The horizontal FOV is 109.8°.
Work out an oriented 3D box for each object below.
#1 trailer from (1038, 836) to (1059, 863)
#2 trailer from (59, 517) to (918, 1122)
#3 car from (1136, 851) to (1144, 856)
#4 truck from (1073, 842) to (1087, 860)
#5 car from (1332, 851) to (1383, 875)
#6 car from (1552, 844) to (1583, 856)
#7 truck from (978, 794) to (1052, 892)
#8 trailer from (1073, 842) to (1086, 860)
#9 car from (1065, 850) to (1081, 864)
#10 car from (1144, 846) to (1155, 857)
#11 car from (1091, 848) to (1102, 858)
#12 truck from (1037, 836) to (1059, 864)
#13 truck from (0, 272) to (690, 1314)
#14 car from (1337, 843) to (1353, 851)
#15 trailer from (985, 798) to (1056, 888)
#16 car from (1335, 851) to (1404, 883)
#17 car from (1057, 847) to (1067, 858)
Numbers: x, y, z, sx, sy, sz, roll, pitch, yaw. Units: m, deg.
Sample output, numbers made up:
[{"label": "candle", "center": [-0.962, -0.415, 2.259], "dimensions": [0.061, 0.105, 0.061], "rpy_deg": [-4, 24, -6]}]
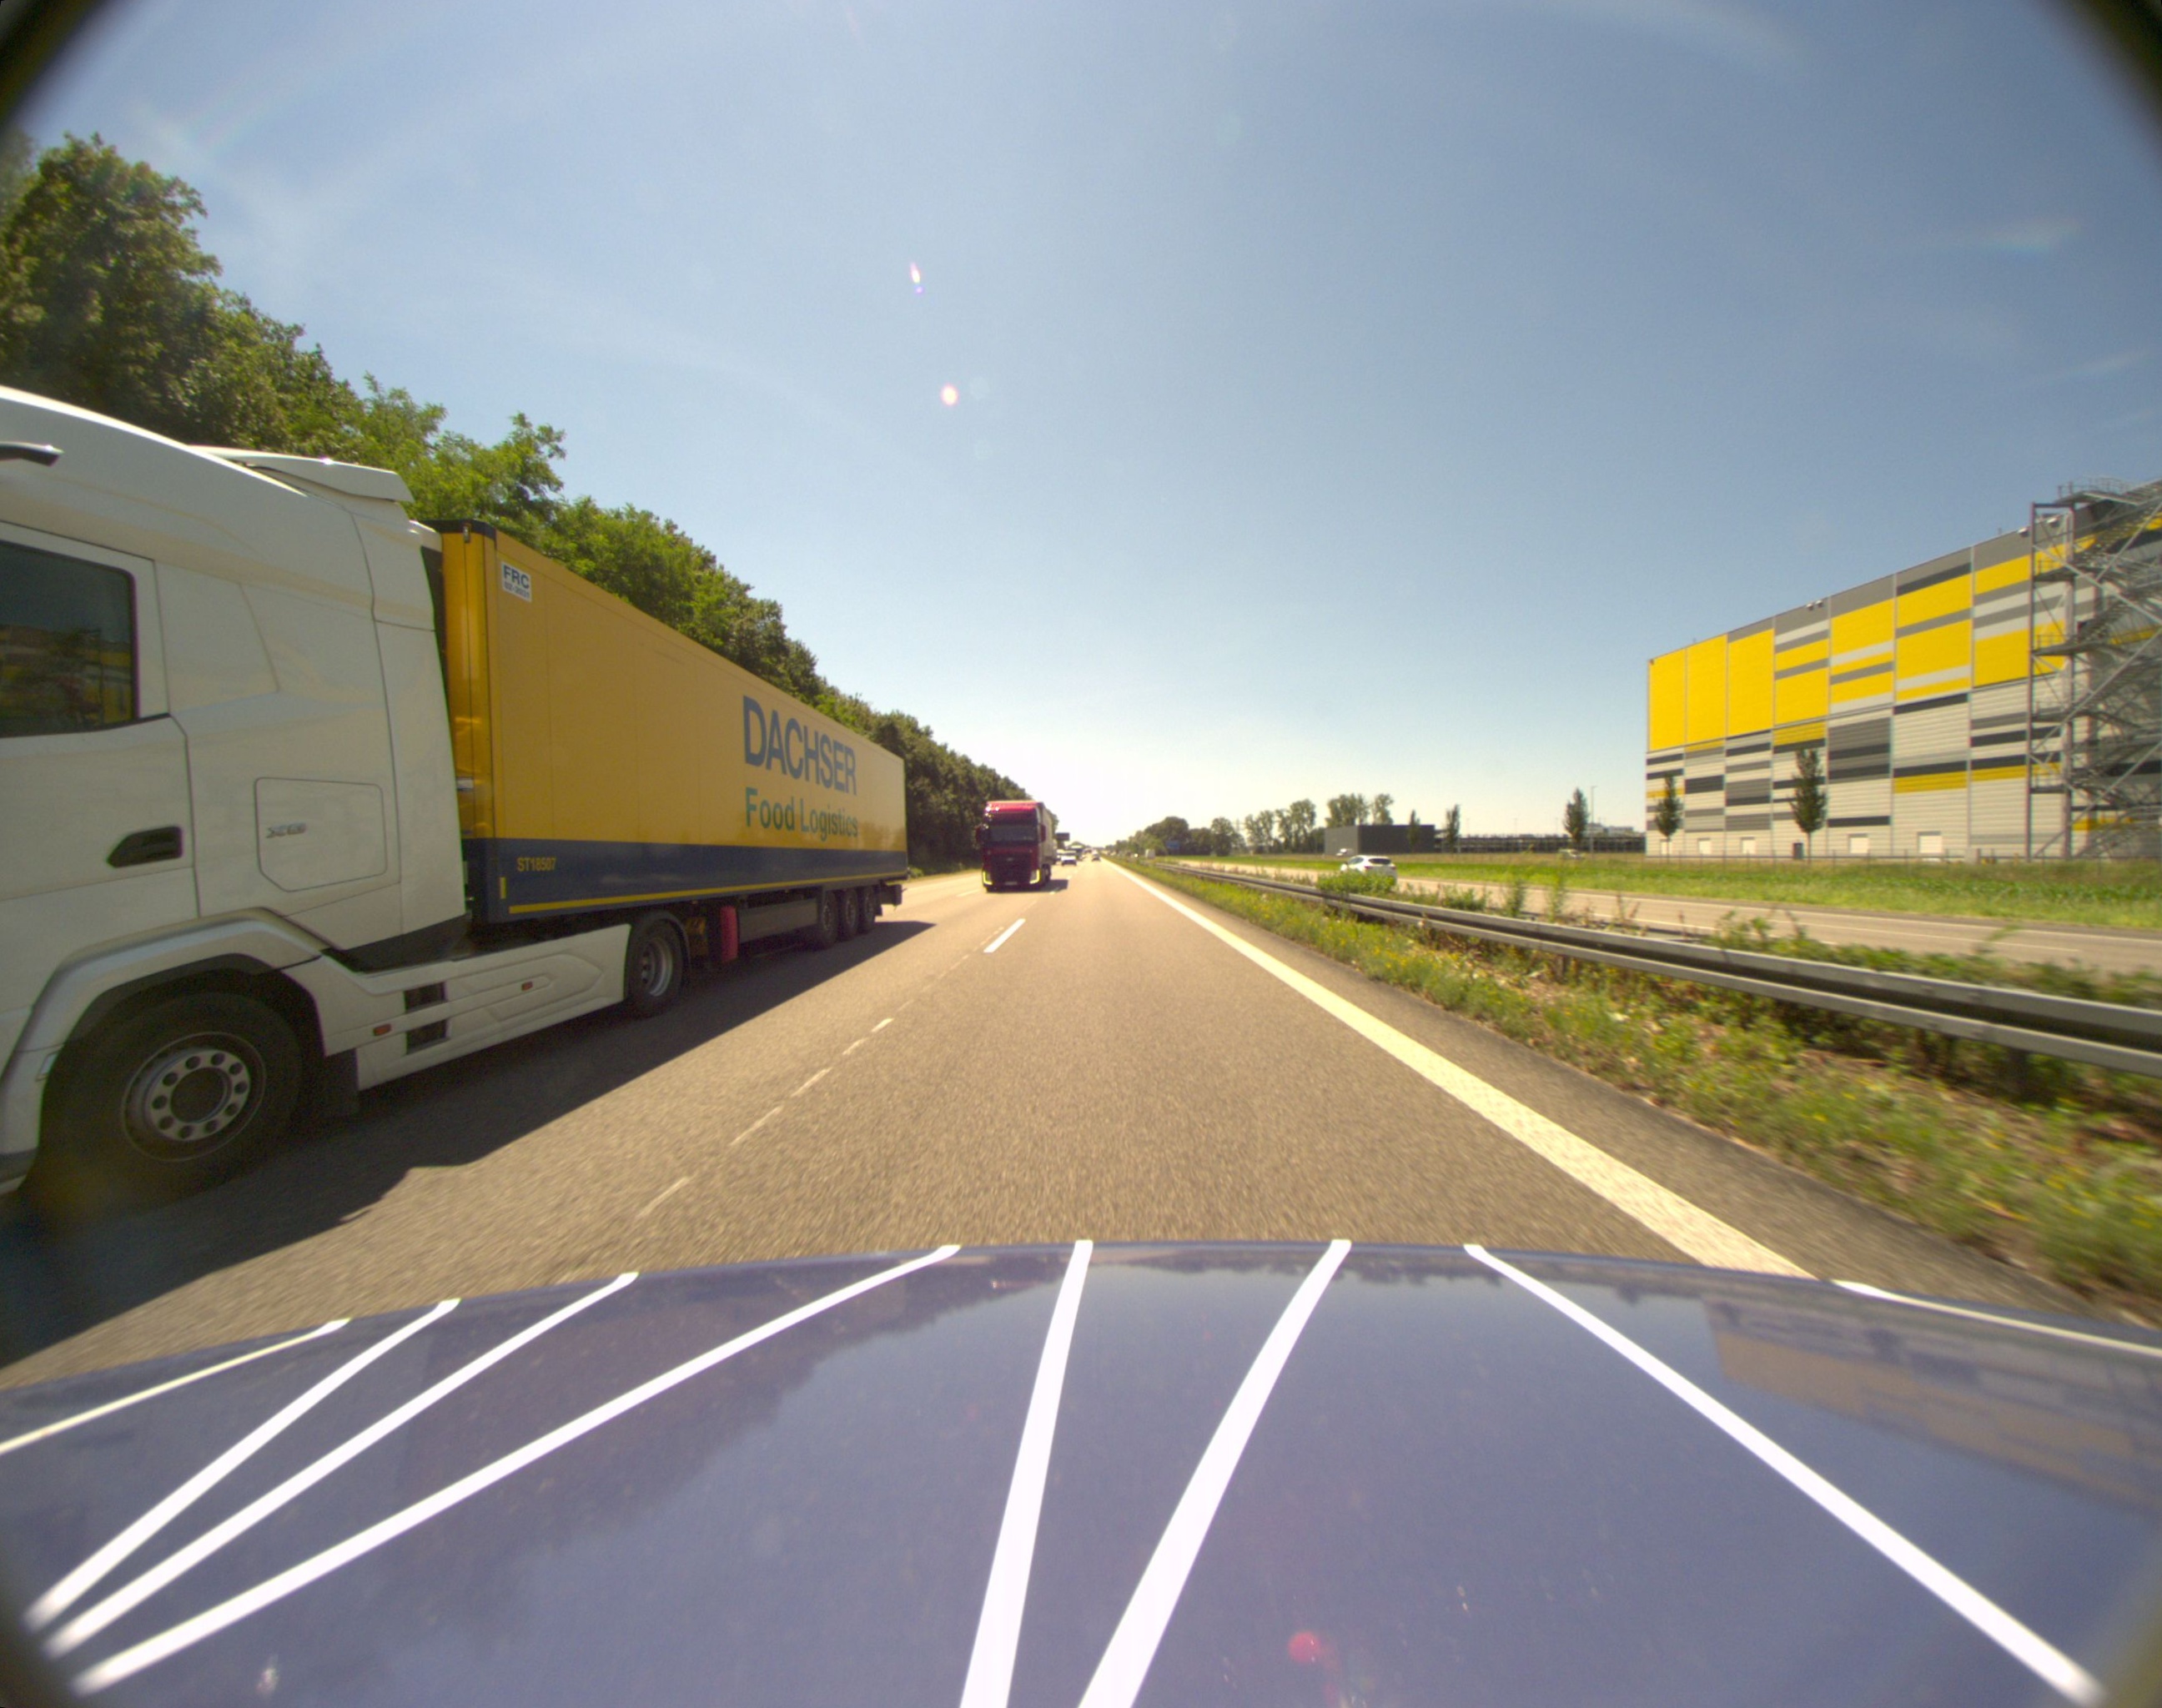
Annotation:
[{"label": "trailer", "center": [-5.264, -0.676, 123.726], "dimensions": [3.057, 4.046, 13.832], "rpy_deg": [-2, 0, -2]}, {"label": "trailer", "center": [-5.507, -0.252, 12.099], "dimensions": [2.684, 4.046, 13.834], "rpy_deg": [-2, 0, 0]}, {"label": "car", "center": [19.237, -0.231, 248.114], "dimensions": [2.073, 1.520, 5.110], "rpy_deg": [0, 0, 1]}, {"label": "truck", "center": [-0.307, -0.757, 173.986], "dimensions": [2.998, 4.046, 5.771], "rpy_deg": [-2, 0, 0]}, {"label": "car", "center": [18.643, 0.598, 51.424], "dimensions": [1.804, 1.523, 4.631], "rpy_deg": [0, 0, 0]}, {"label": "car", "center": [71.311, -0.634, 111.371], "dimensions": [1.832, 1.726, 4.269], "rpy_deg": [0, 0, 0]}, {"label": "truck", "center": [-2.873, -0.486, 34.878], "dimensions": [2.870, 4.046, 5.770], "rpy_deg": [-2, 0, -1]}, {"label": "trailer", "center": [-0.289, -0.778, 181.598], "dimensions": [3.005, 4.046, 13.834], "rpy_deg": [-2, 0, 0]}, {"label": "car", "center": [-1.063, 0.402, 101.900], "dimensions": [2.073, 1.823, 5.109], "rpy_deg": [0, 0, -1]}, {"label": "car", "center": [17.172, -0.598, 190.137], "dimensions": [2.073, 2.539, 7.934], "rpy_deg": [0, 0, 1]}, {"label": "car", "center": [3.120, -0.220, 154.228], "dimensions": [2.073, 1.959, 5.109], "rpy_deg": [0, 0, -1]}, {"label": "truck", "center": [-5.066, -0.642, 117.489], "dimensions": [3.064, 4.046, 5.770], "rpy_deg": [-2, 0, -2]}, {"label": "truck", "center": [-5.524, -0.232, 4.943], "dimensions": [2.684, 4.046, 6.048], "rpy_deg": [-2, 0, 0]}, {"label": "car", "center": [77.160, -2.001, 221.916], "dimensions": [2.560, 2.235, 6.081], "rpy_deg": [0, 0, 0]}, {"label": "trailer", "center": [-2.983, -0.513, 41.853], "dimensions": [2.885, 4.046, 13.833], "rpy_deg": [-2, 0, -1]}, {"label": "car", "center": [14.220, 0.594, 37.726], "dimensions": [1.804, 1.523, 4.483], "rpy_deg": [0, 0, 1]}, {"label": "car", "center": [-4.000, -0.248, 162.180], "dimensions": [2.073, 2.328, 5.767], "rpy_deg": [0, 0, -1]}]
